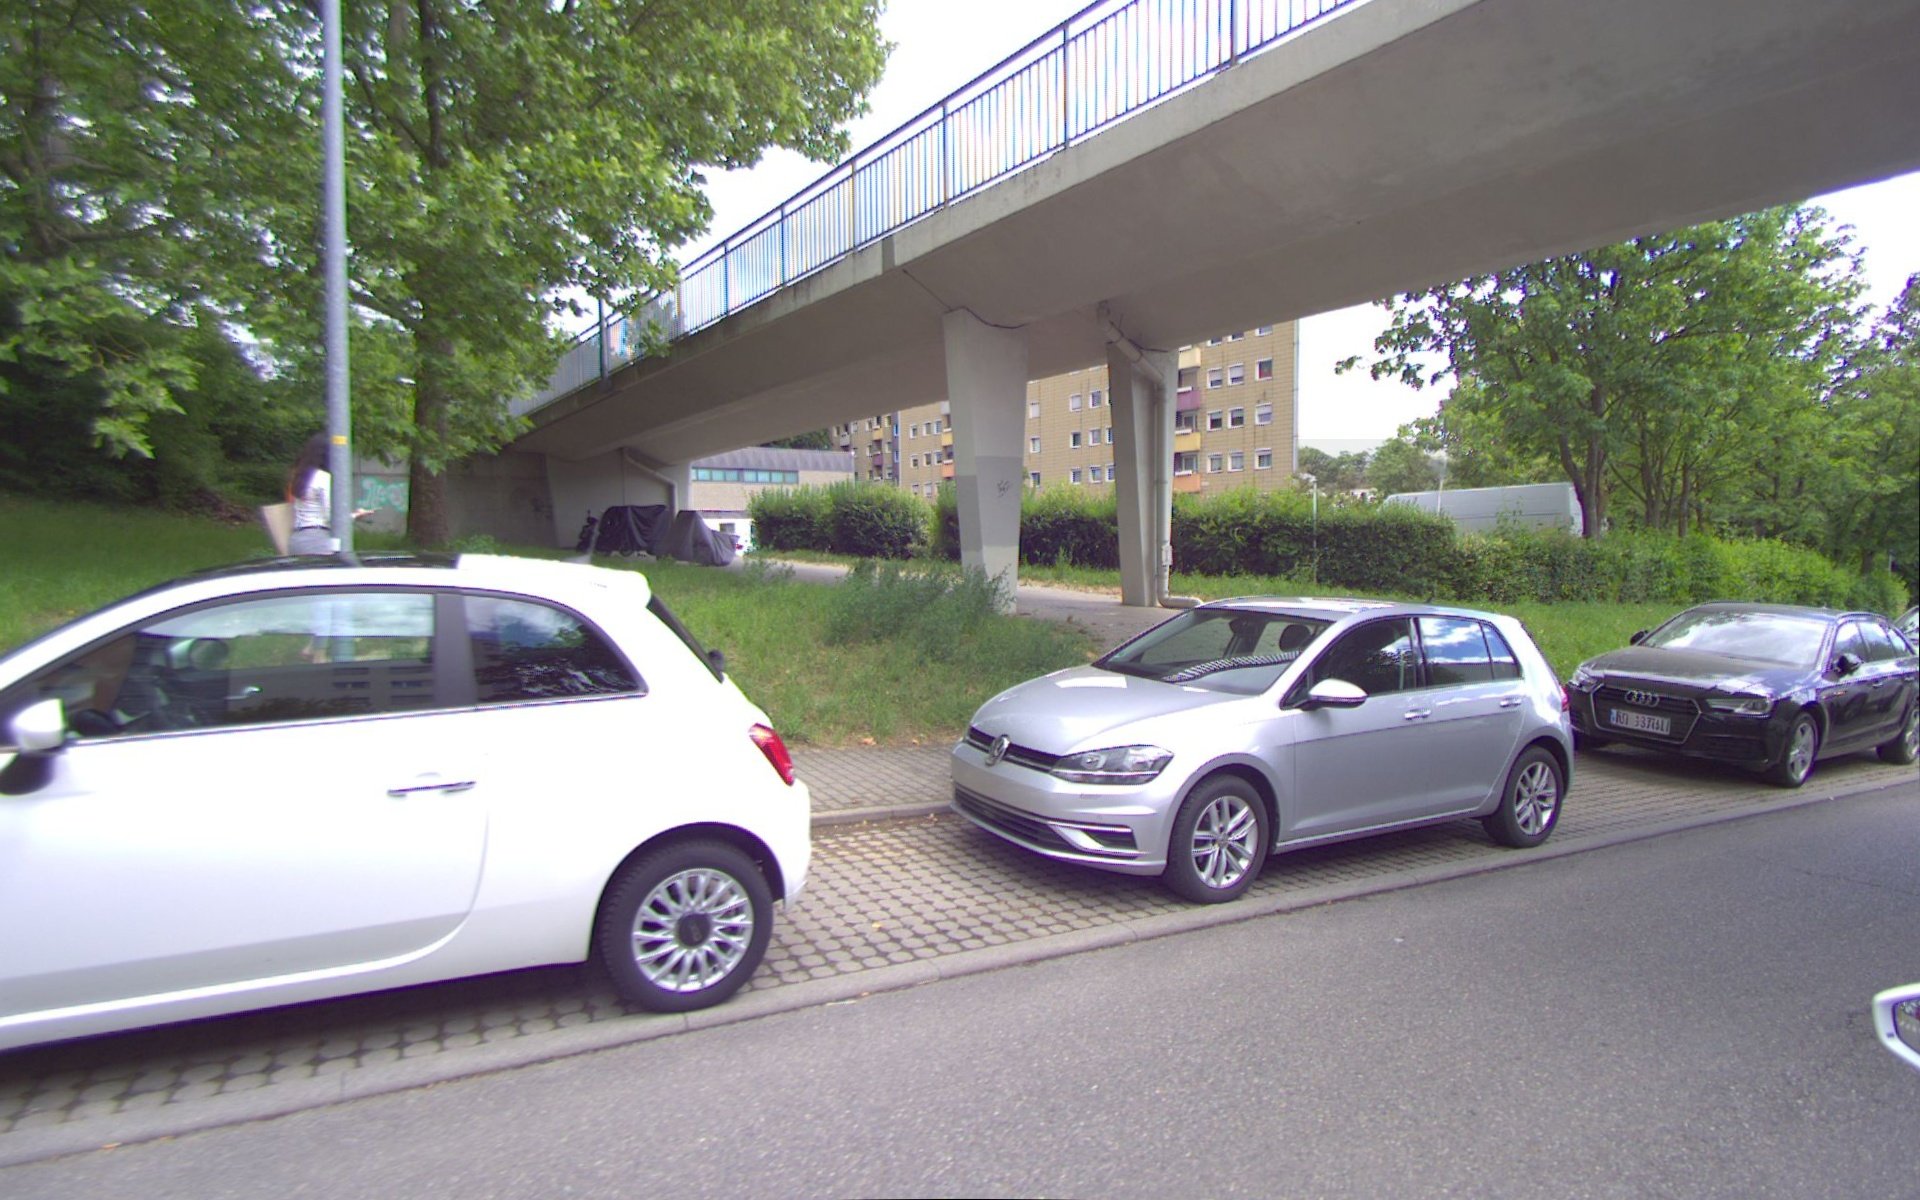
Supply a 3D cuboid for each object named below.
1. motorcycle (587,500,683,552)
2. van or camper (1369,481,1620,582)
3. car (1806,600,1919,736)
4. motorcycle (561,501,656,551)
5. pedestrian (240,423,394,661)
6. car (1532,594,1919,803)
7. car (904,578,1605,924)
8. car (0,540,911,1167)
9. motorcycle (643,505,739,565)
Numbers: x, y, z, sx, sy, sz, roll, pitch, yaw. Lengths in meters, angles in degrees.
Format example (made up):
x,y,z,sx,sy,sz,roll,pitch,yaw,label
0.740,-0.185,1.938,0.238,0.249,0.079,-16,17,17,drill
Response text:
x,y,z,sx,sy,sz,roll,pitch,yaw,label
-8.666,-1.952,26.825,2.293,1.288,0.877,-1,3,-35,motorcycle
12.393,-1.556,23.634,1.980,2.114,4.821,-1,3,-35,van or camper
12.671,0.801,12.749,3.795,1.580,1.874,1,0,-32,car
-9.598,-1.992,27.487,2.293,1.288,0.877,-1,3,-35,motorcycle
-4.963,-0.442,7.789,0.724,1.745,0.660,1,3,14,pedestrian
7.632,0.768,9.723,4.406,1.529,1.872,0,2,-34,car
1.855,0.667,6.137,3.953,1.446,1.875,1,2,-30,car
-2.176,0.598,3.599,3.504,1.480,1.875,1,4,-30,car
-5.955,-1.428,22.365,2.011,1.288,0.884,0,3,-13,motorcycle
